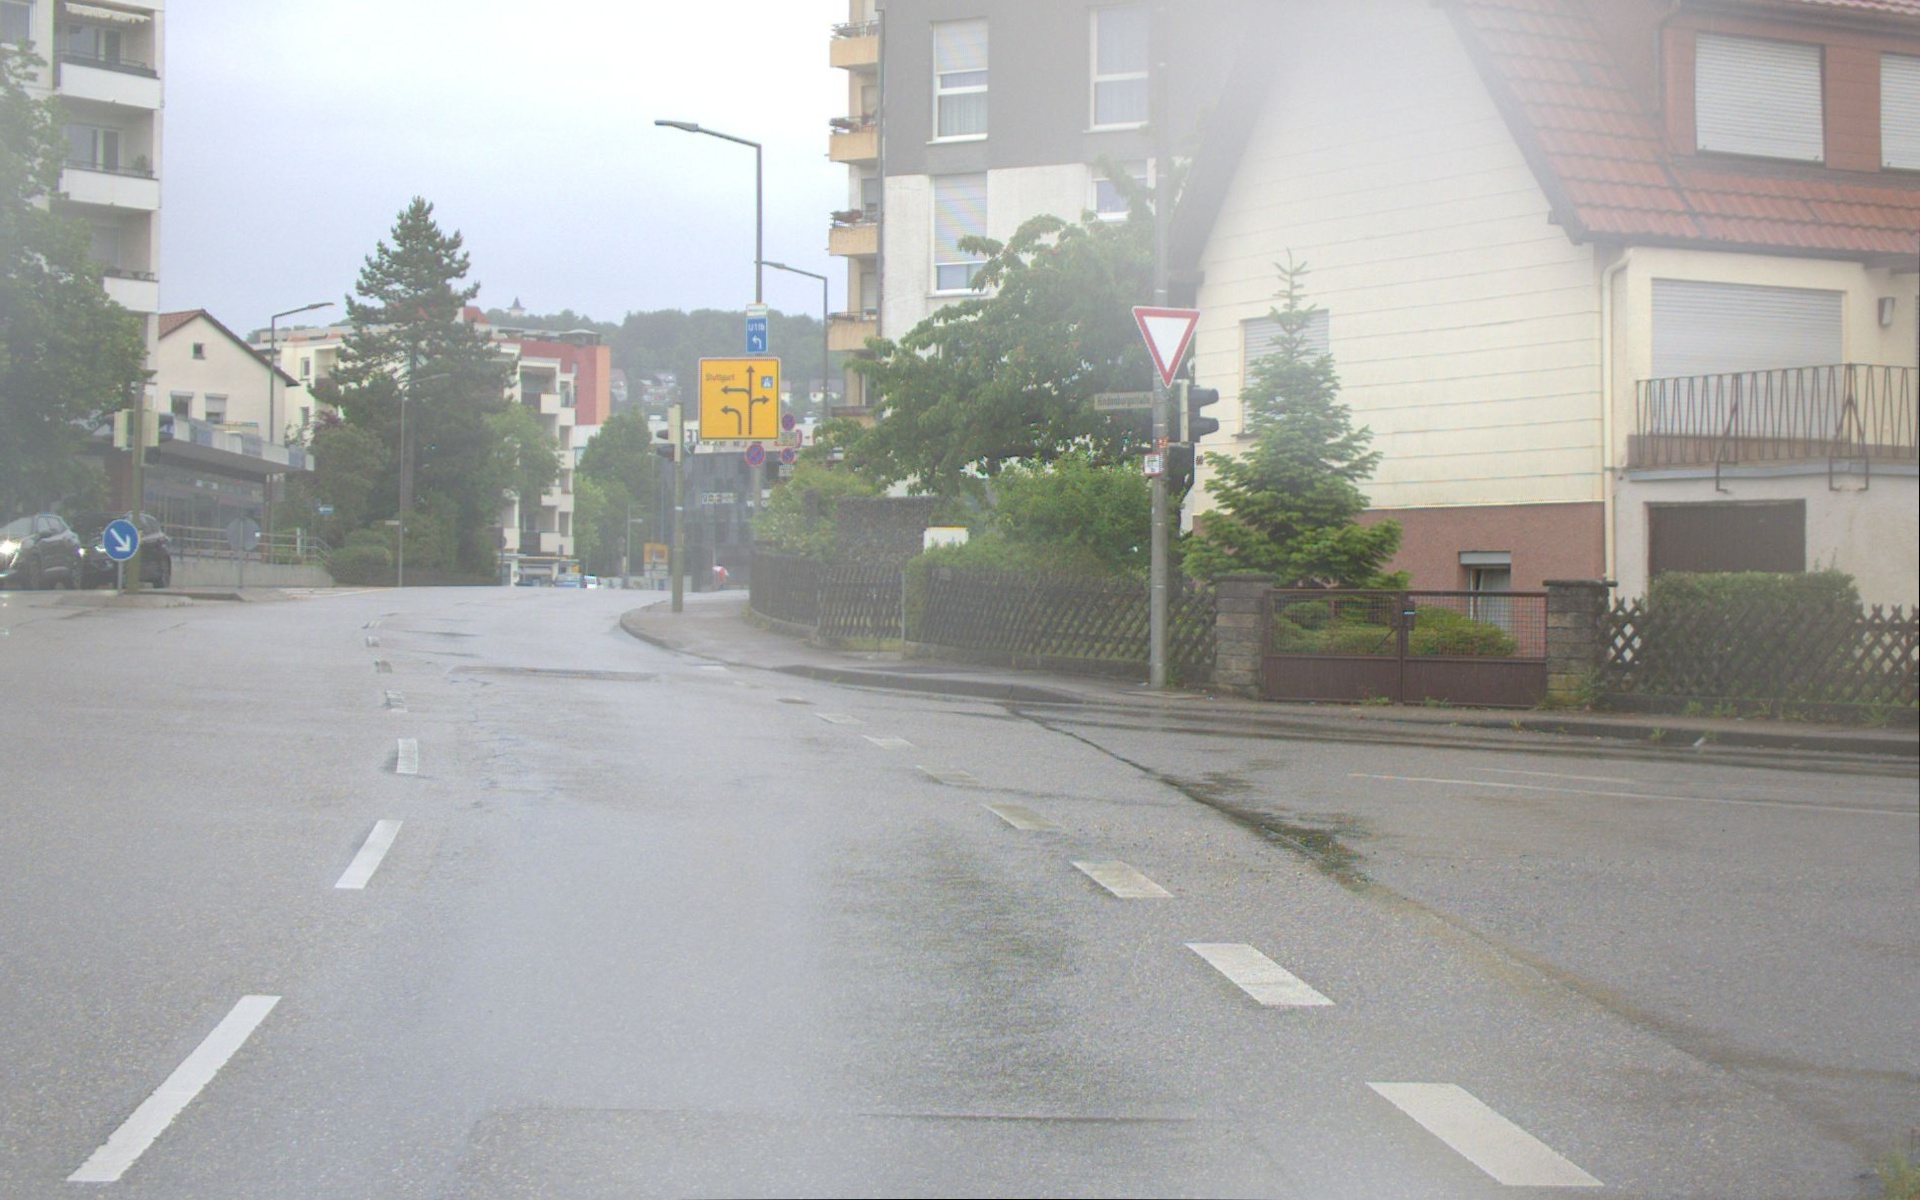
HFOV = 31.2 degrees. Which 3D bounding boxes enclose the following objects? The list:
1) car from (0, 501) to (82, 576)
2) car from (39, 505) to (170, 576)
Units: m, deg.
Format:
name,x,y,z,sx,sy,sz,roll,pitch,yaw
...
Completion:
name,x,y,z,sx,sy,sz,roll,pitch,yaw
car,-18.102,-1.191,65.588,1.715,1.382,4.021,1,1,-1
car,-17.740,-1.246,71.414,1.778,1.415,3.831,1,1,-1
